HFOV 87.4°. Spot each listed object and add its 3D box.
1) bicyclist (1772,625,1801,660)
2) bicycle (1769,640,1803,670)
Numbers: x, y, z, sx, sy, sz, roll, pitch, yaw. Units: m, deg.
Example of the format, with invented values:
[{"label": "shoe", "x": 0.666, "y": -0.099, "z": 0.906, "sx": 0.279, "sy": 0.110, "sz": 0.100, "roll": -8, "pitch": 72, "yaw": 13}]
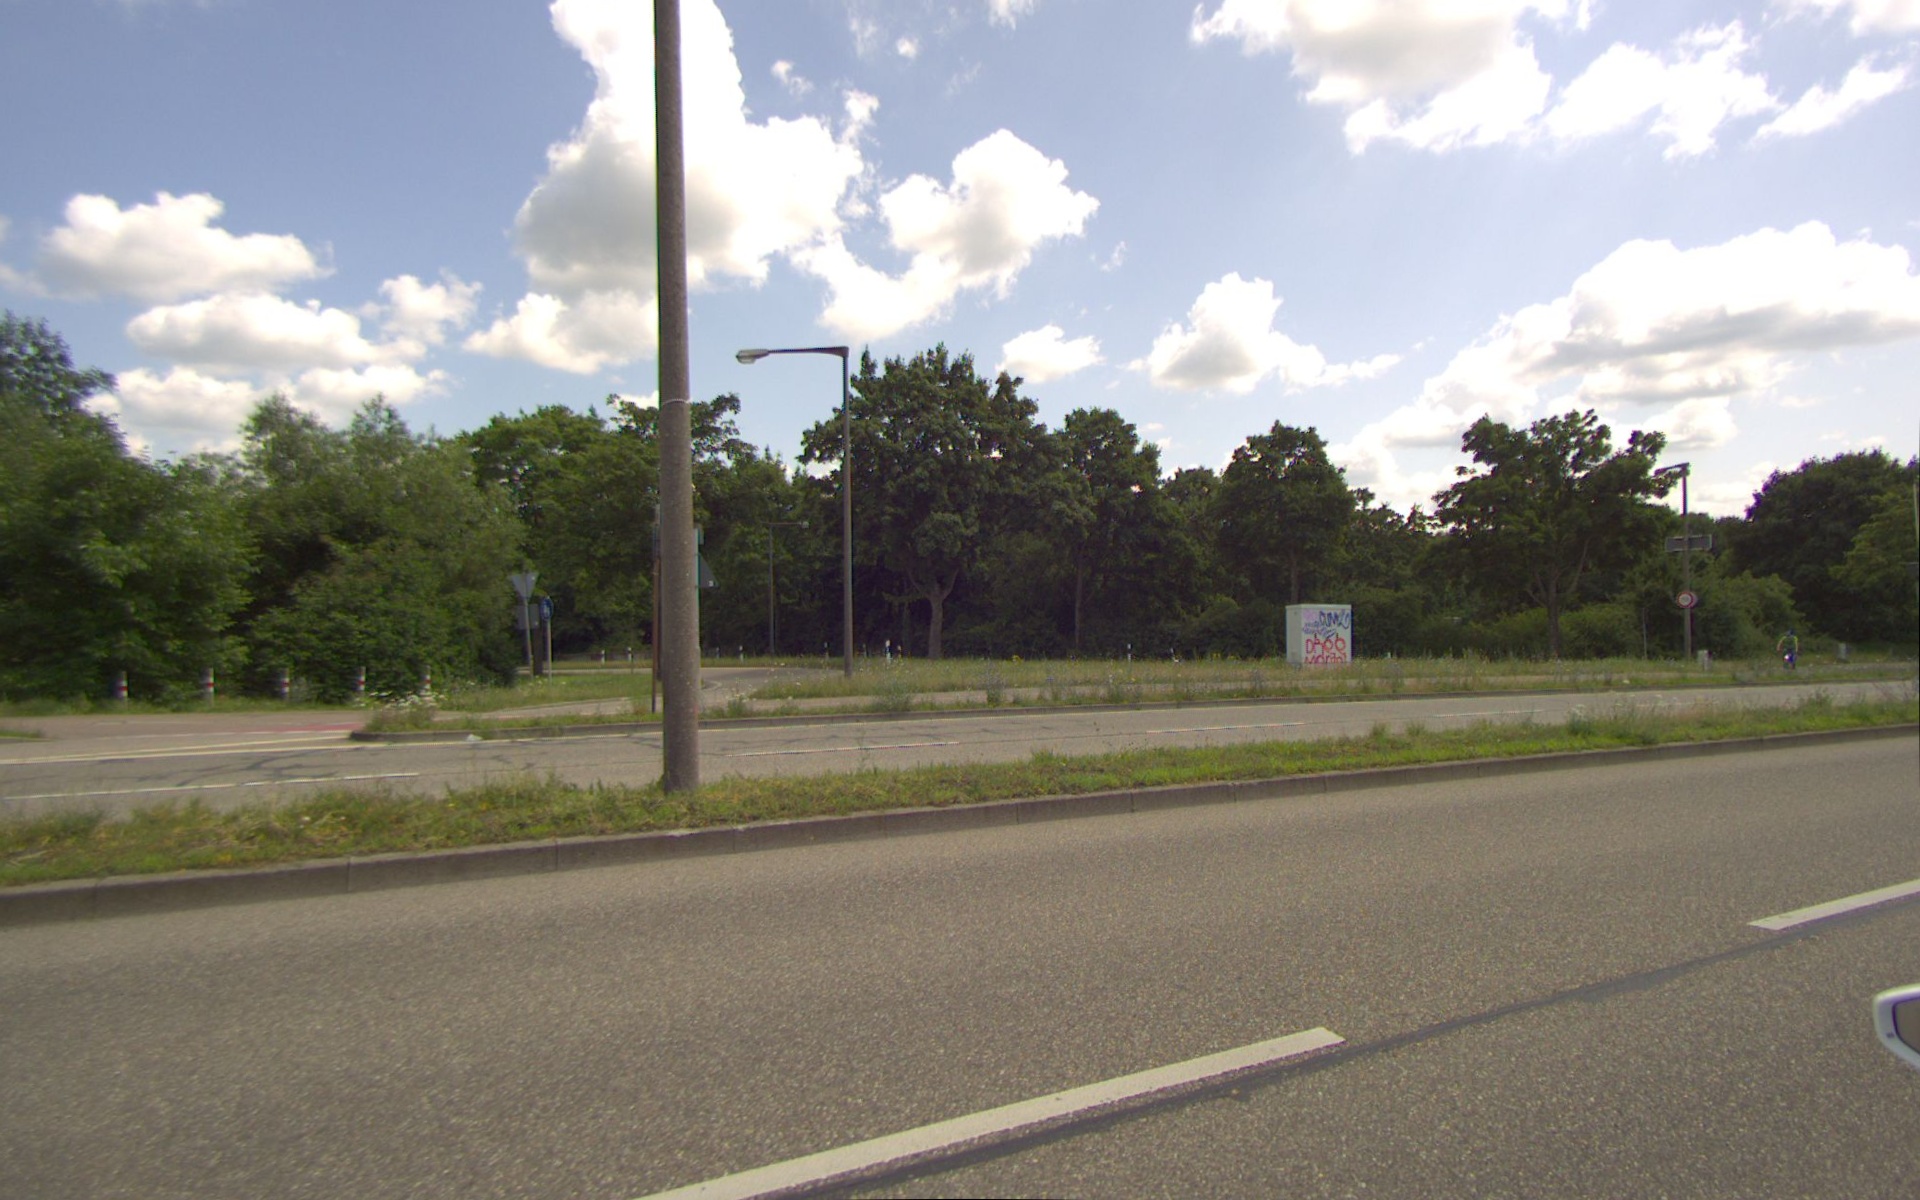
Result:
[{"label": "bicyclist", "x": 31.840, "y": 1.622, "z": 38.689, "sx": 1.094, "sy": 1.289, "sz": 0.518, "roll": 0, "pitch": 1, "yaw": -32}, {"label": "bicycle", "x": 31.787, "y": 2.116, "z": 38.664, "sx": 1.886, "sy": 1.082, "sz": 0.429, "roll": 0, "pitch": 1, "yaw": -32}]
